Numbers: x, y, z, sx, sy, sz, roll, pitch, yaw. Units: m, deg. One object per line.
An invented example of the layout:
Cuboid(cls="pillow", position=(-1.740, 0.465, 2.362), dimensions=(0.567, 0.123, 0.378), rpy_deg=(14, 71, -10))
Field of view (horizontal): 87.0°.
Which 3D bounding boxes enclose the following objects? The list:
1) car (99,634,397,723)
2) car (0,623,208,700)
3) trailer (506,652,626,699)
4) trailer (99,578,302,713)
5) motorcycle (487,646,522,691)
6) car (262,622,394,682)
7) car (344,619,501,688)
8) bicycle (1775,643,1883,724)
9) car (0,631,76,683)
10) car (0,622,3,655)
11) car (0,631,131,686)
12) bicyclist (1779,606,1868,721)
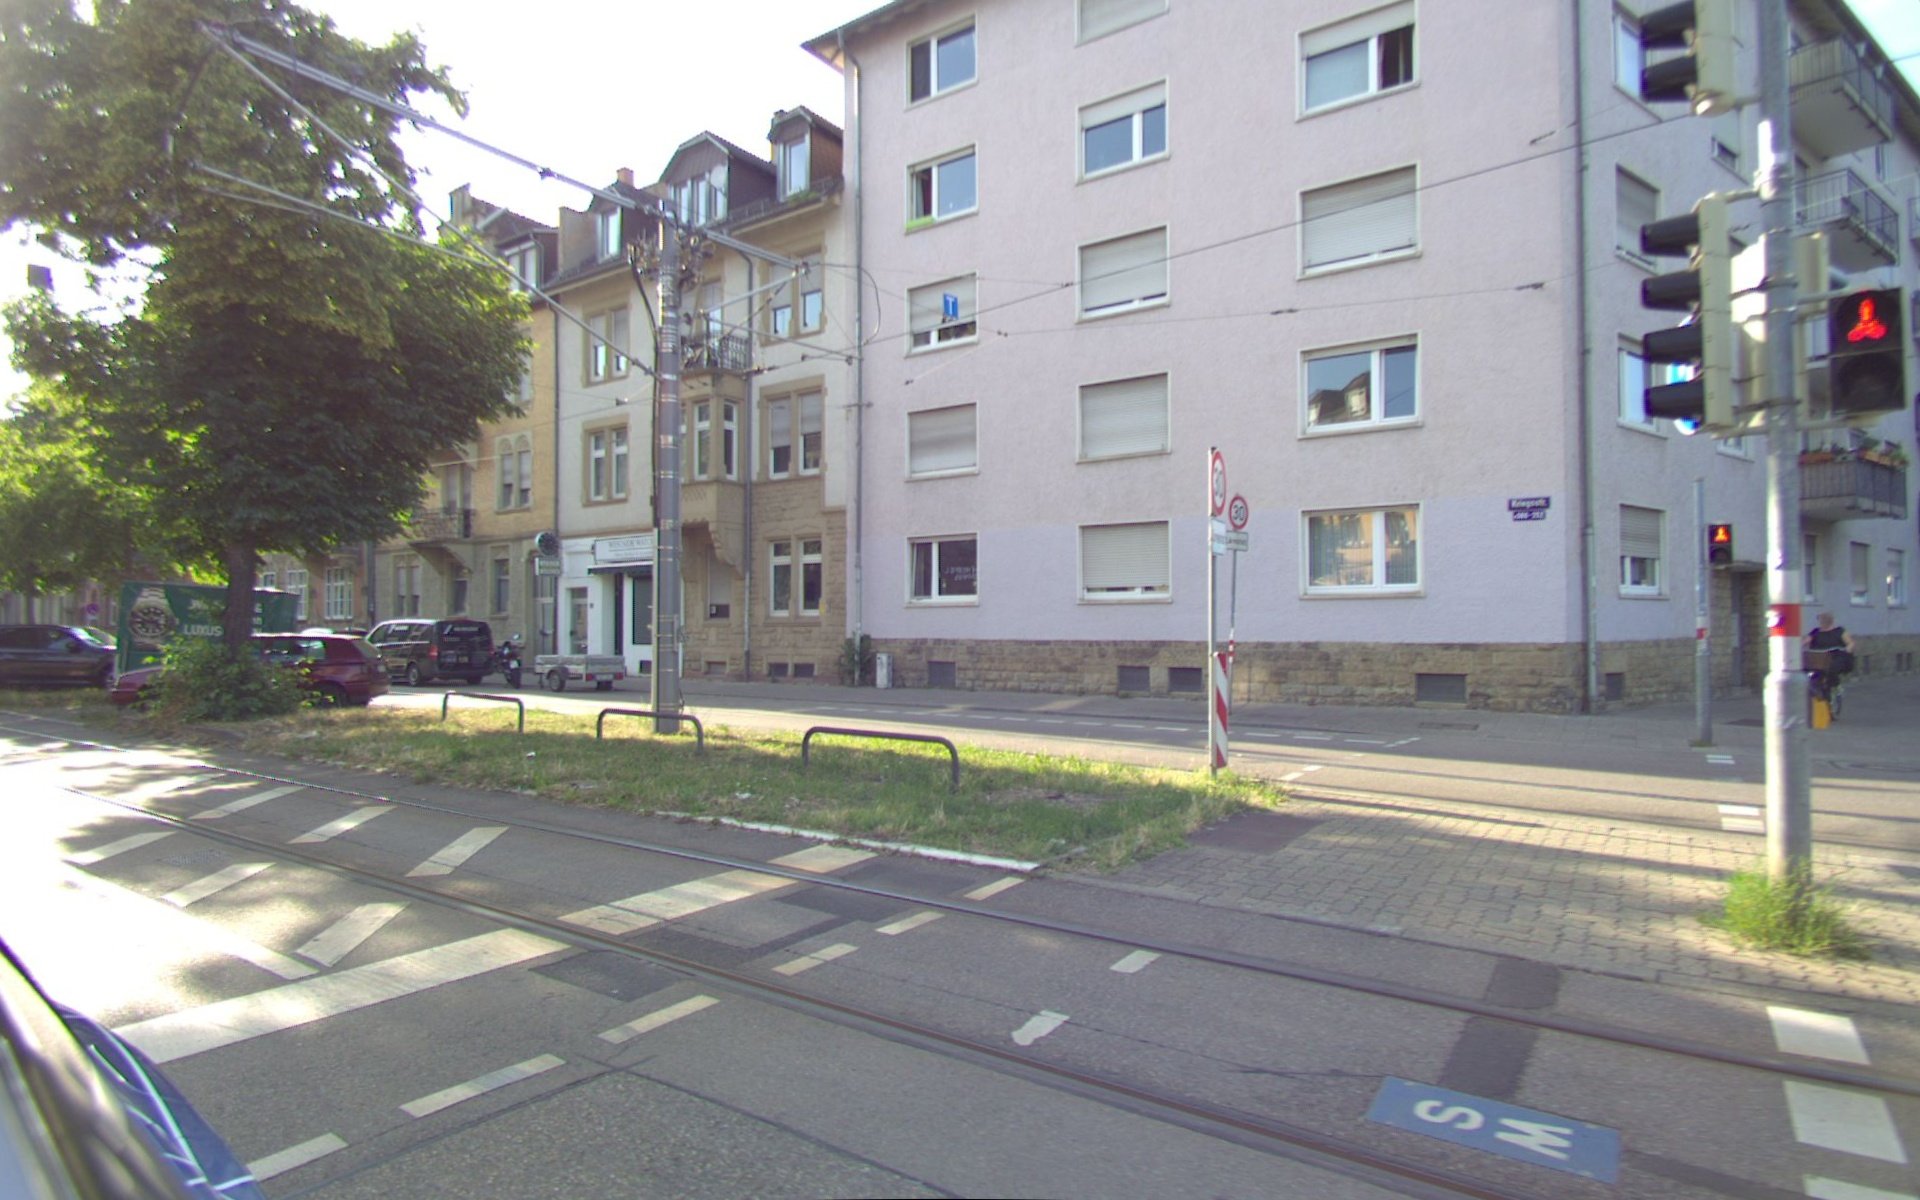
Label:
Cuboid(cls="car", position=(-12.048, 1.287, 17.442), dimensions=(3.885, 1.370, 1.678), rpy_deg=(0, -2, -20))
Cuboid(cls="car", position=(-21.092, 1.426, 24.088), dimensions=(4.639, 1.703, 2.177), rpy_deg=(0, -2, -13))
Cuboid(cls="trailer", position=(-9.883, 1.863, 25.358), dimensions=(2.873, 0.902, 1.429), rpy_deg=(-2, 4, 36))
Cuboid(cls="trailer", position=(-14.537, 0.823, 19.549), dimensions=(2.816, 2.410, 1.728), rpy_deg=(-1, -1, -24))
Cuboid(cls="motorcycle", position=(-11.944, 1.769, 26.520), dimensions=(0.626, 1.088, 1.739), rpy_deg=(-1, -1, -31))
Cuboid(cls="car", position=(-20.443, 1.637, 32.689), dimensions=(4.603, 1.763, 2.145), rpy_deg=(-2, -1, 37))
Cuboid(cls="car", position=(-15.207, 1.459, 28.530), dimensions=(4.710, 1.763, 2.145), rpy_deg=(-2, -1, 37))
Cuboid(cls="bicycle", position=(13.066, 1.223, 15.201), dimensions=(1.885, 1.119, 0.737), rpy_deg=(1, -3, -35))
Cuboid(cls="car", position=(-29.102, 1.703, 29.790), dimensions=(4.234, 1.433, 1.964), rpy_deg=(-1, -1, -14))
Cuboid(cls="car", position=(-60.351, 2.380, 61.892), dimensions=(3.991, 2.029, 1.976), rpy_deg=(-2, -1, 36))
Cuboid(cls="car", position=(-25.921, 1.623, 27.832), dimensions=(4.530, 1.392, 1.707), rpy_deg=(-1, -1, -20))
Cuboid(cls="bicyclist", position=(12.862, 0.929, 15.077), dimensions=(0.760, 1.655, 0.796), rpy_deg=(1, -3, -35))
